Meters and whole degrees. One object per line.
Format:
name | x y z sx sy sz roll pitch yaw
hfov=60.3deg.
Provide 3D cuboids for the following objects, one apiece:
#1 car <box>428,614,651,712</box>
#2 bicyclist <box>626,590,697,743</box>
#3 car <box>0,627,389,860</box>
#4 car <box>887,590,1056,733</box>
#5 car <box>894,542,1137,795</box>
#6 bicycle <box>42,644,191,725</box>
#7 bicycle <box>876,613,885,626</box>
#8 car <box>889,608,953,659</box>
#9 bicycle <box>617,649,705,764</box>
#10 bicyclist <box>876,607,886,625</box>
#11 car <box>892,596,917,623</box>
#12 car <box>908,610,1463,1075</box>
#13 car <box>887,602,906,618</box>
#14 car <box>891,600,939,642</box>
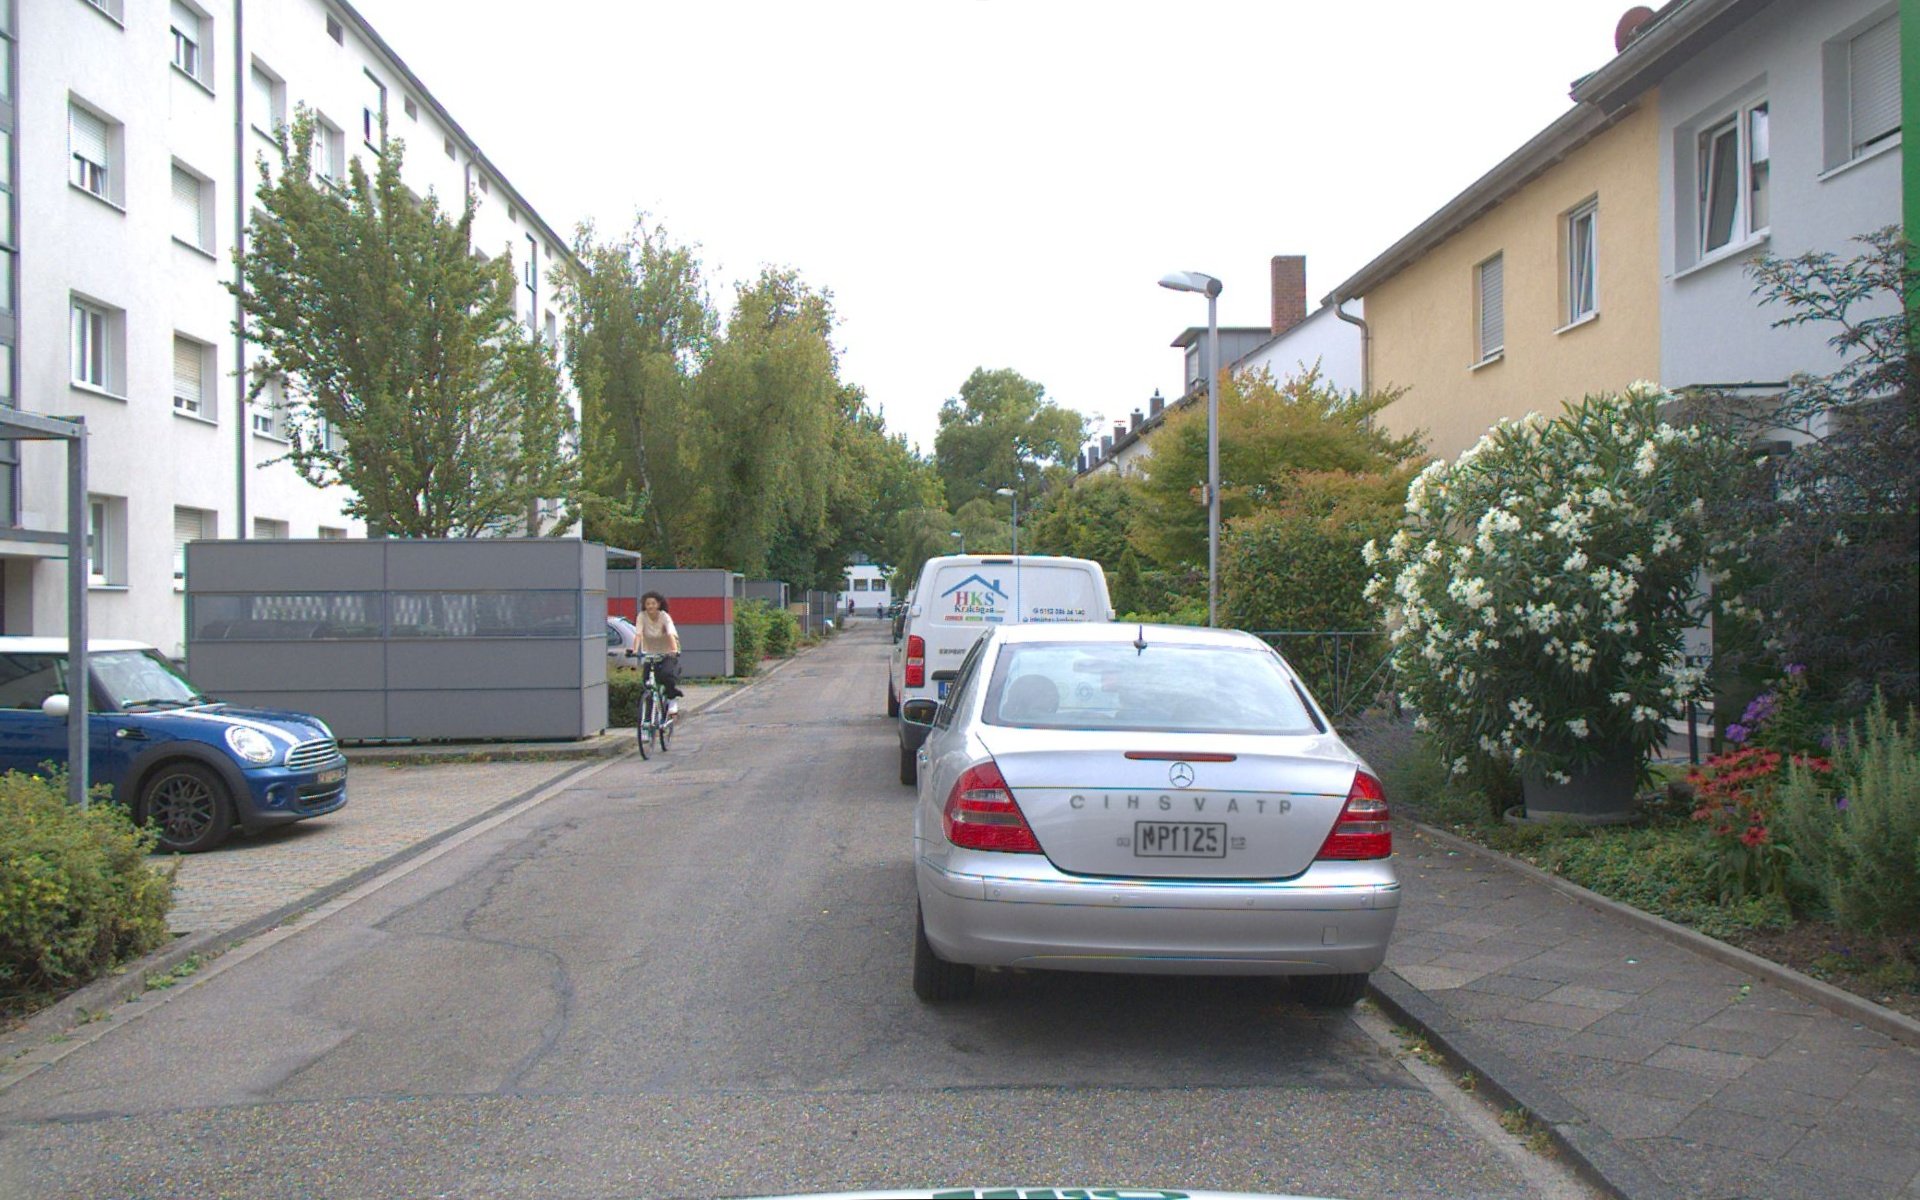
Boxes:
car | -7.232 1.056 28.723 3.494 1.506 1.708 -2 0 -7
bicyclist | -3.243 0.708 18.005 0.585 1.608 0.767 -2 0 -1
car | -6.197 0.996 11.900 3.560 1.487 1.653 -2 0 1
car | 0.051 0.736 21.477 1.789 1.664 4.157 1 0 -5
car | 0.345 0.561 15.823 1.866 1.999 5.250 1 0 -3
bicycle | -11.748 1.157 23.082 1.796 1.042 0.471 -1 0 -44
bicycle | -7.026 1.714 145.656 0.675 1.151 2.579 1 0 0
car | -1.186 0.969 49.120 1.788 1.394 4.329 1 0 -2
bicycle | -3.223 1.120 17.970 0.585 1.095 2.042 -2 0 -1
bicyclist | -6.976 1.400 145.611 0.782 1.537 0.934 1 -1 0
car | -4.163 0.717 124.342 1.788 1.916 3.998 1 0 -2
car | 0.687 0.783 7.456 1.747 1.445 4.454 1 0 -1
car | -6.342 0.977 165.228 1.788 1.609 3.998 1 0 -2
car | -1.870 0.838 67.828 1.789 1.609 3.997 1 0 -4
